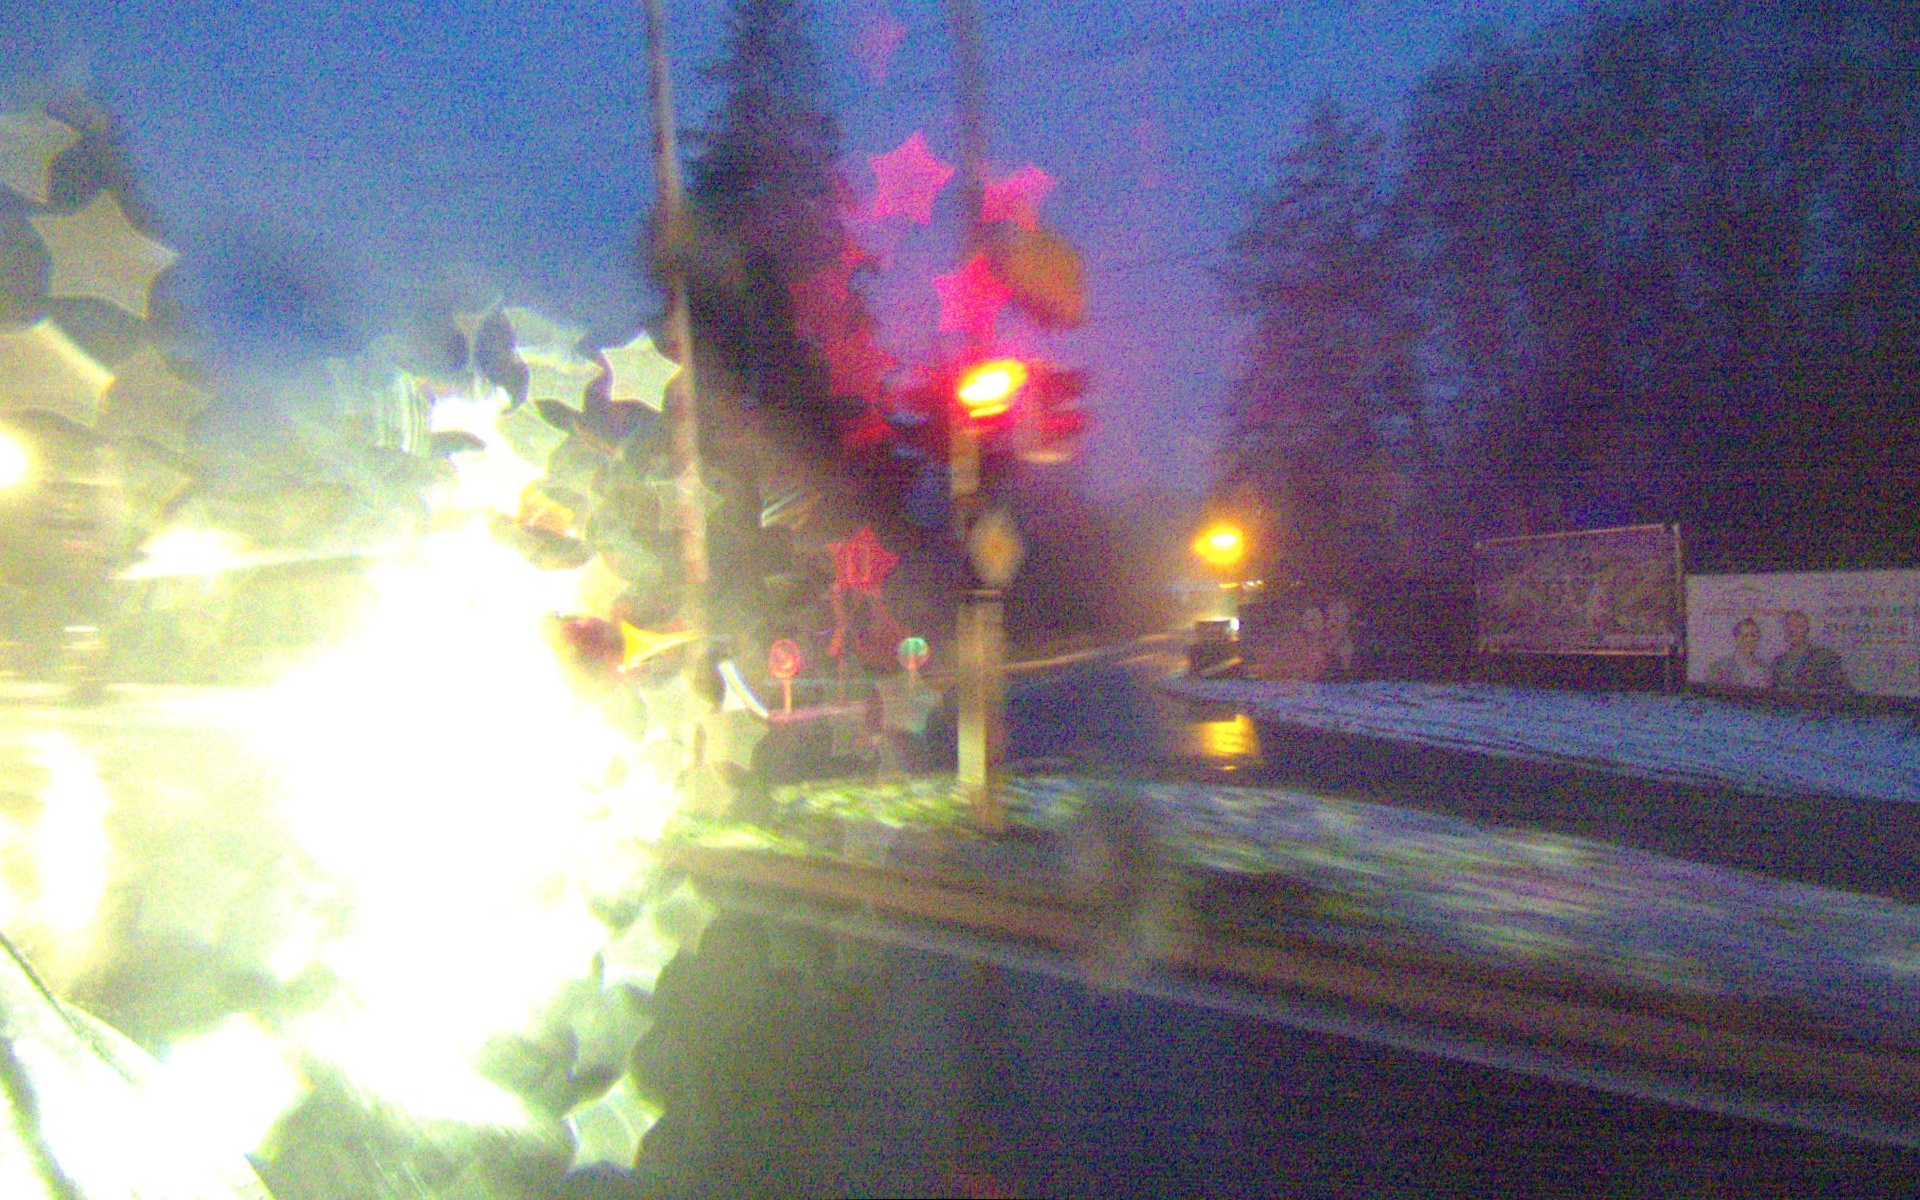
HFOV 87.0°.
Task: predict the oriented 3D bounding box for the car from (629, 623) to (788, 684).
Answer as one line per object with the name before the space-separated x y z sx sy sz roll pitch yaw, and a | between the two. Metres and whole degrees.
car | -7.472 1.544 29.982 4.463 1.598 1.920 0 -2 30

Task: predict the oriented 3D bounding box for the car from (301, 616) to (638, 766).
car | -6.390 1.126 13.811 1.876 1.701 4.321 -2 -2 13
